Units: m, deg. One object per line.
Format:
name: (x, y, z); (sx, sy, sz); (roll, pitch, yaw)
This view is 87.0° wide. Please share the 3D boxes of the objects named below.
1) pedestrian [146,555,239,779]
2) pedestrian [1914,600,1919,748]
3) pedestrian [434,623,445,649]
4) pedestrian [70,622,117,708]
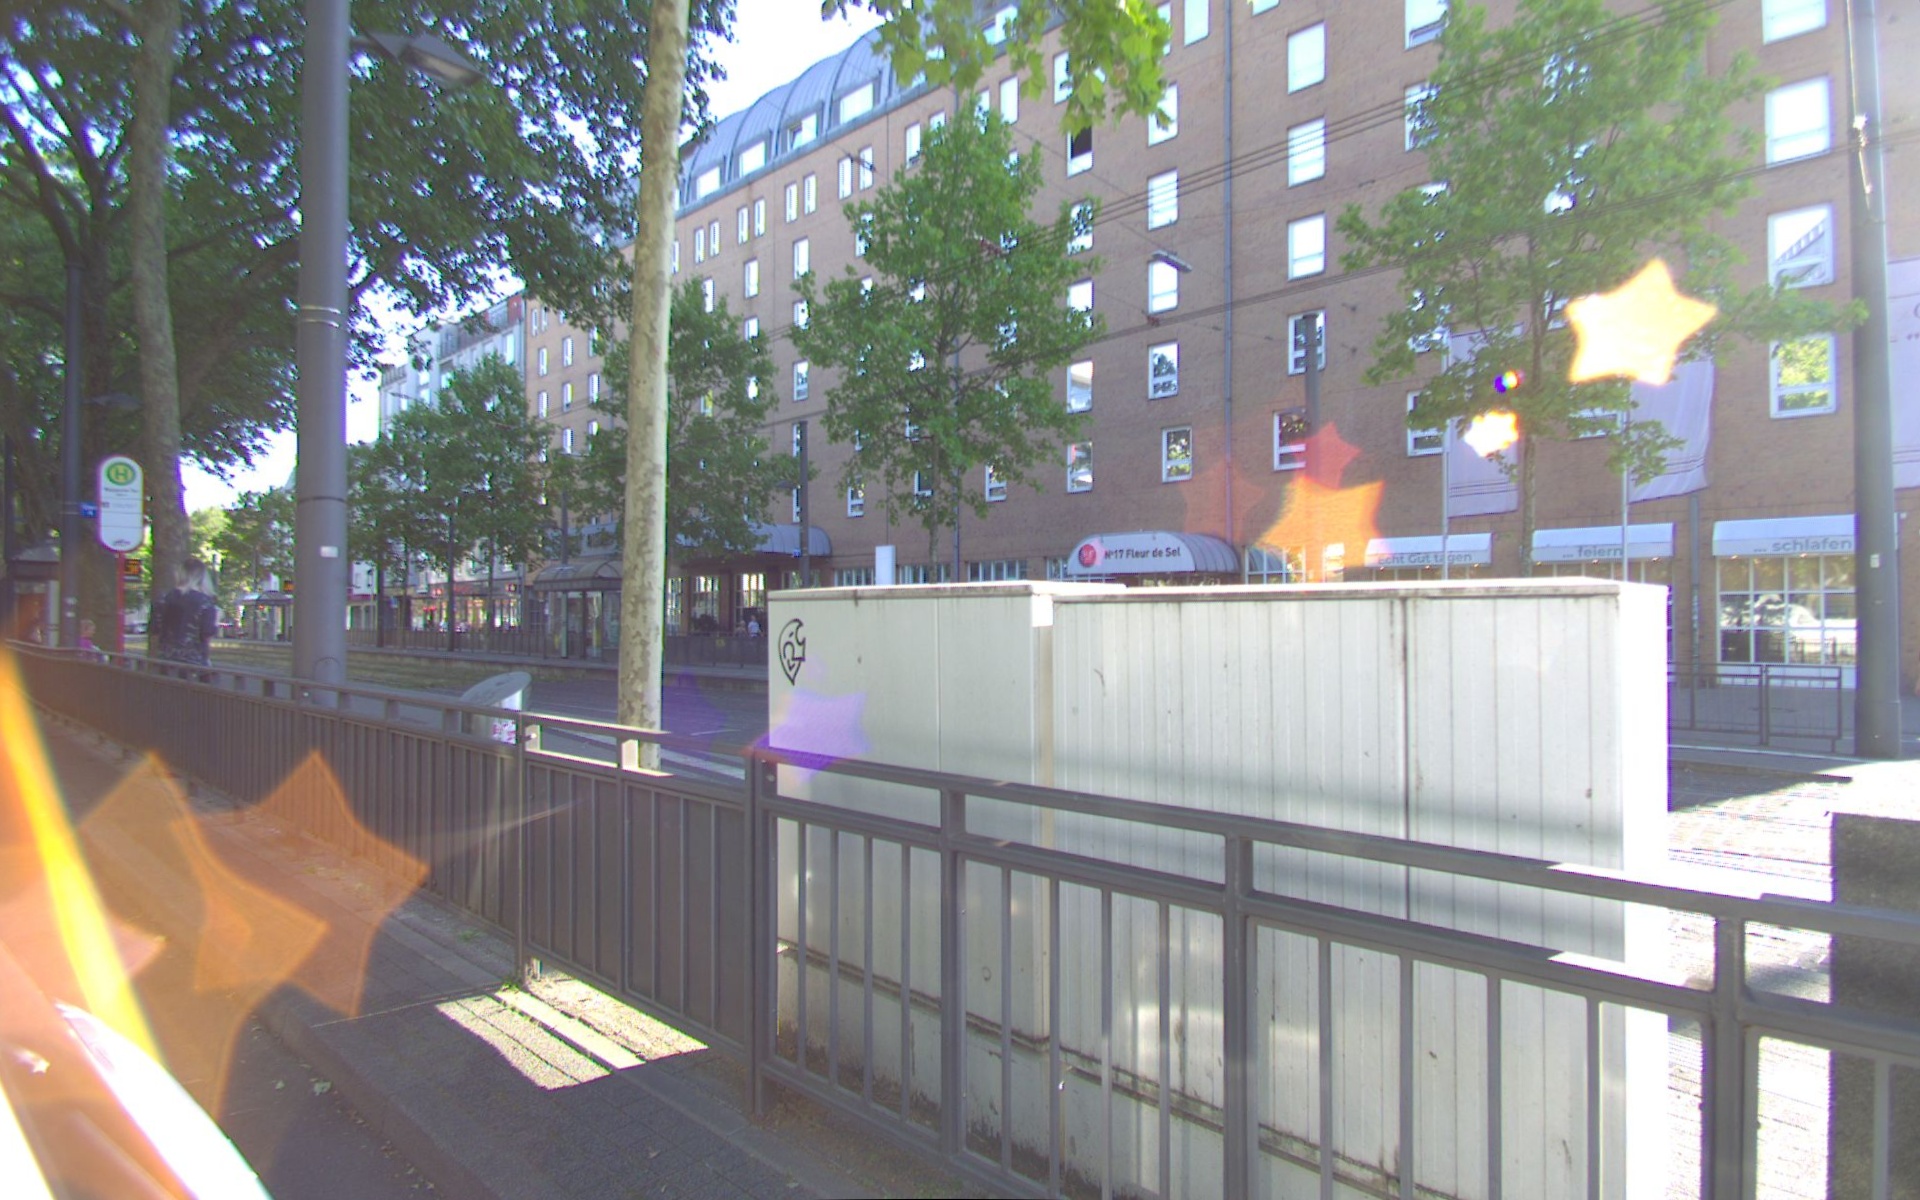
pedestrian: (-6.593, 0.549, 8.690); (0.524, 1.848, 0.536); (-1, 0, 43)
pedestrian: (12.451, 0.907, 12.474); (0.958, 1.812, 0.978); (-1, 0, 45)
pedestrian: (-35.719, 2.470, 69.430); (0.574, 1.748, 0.497); (-2, -2, 43)
pedestrian: (-13.964, 1.034, 16.314); (0.534, 1.327, 0.525); (-1, 0, -37)
